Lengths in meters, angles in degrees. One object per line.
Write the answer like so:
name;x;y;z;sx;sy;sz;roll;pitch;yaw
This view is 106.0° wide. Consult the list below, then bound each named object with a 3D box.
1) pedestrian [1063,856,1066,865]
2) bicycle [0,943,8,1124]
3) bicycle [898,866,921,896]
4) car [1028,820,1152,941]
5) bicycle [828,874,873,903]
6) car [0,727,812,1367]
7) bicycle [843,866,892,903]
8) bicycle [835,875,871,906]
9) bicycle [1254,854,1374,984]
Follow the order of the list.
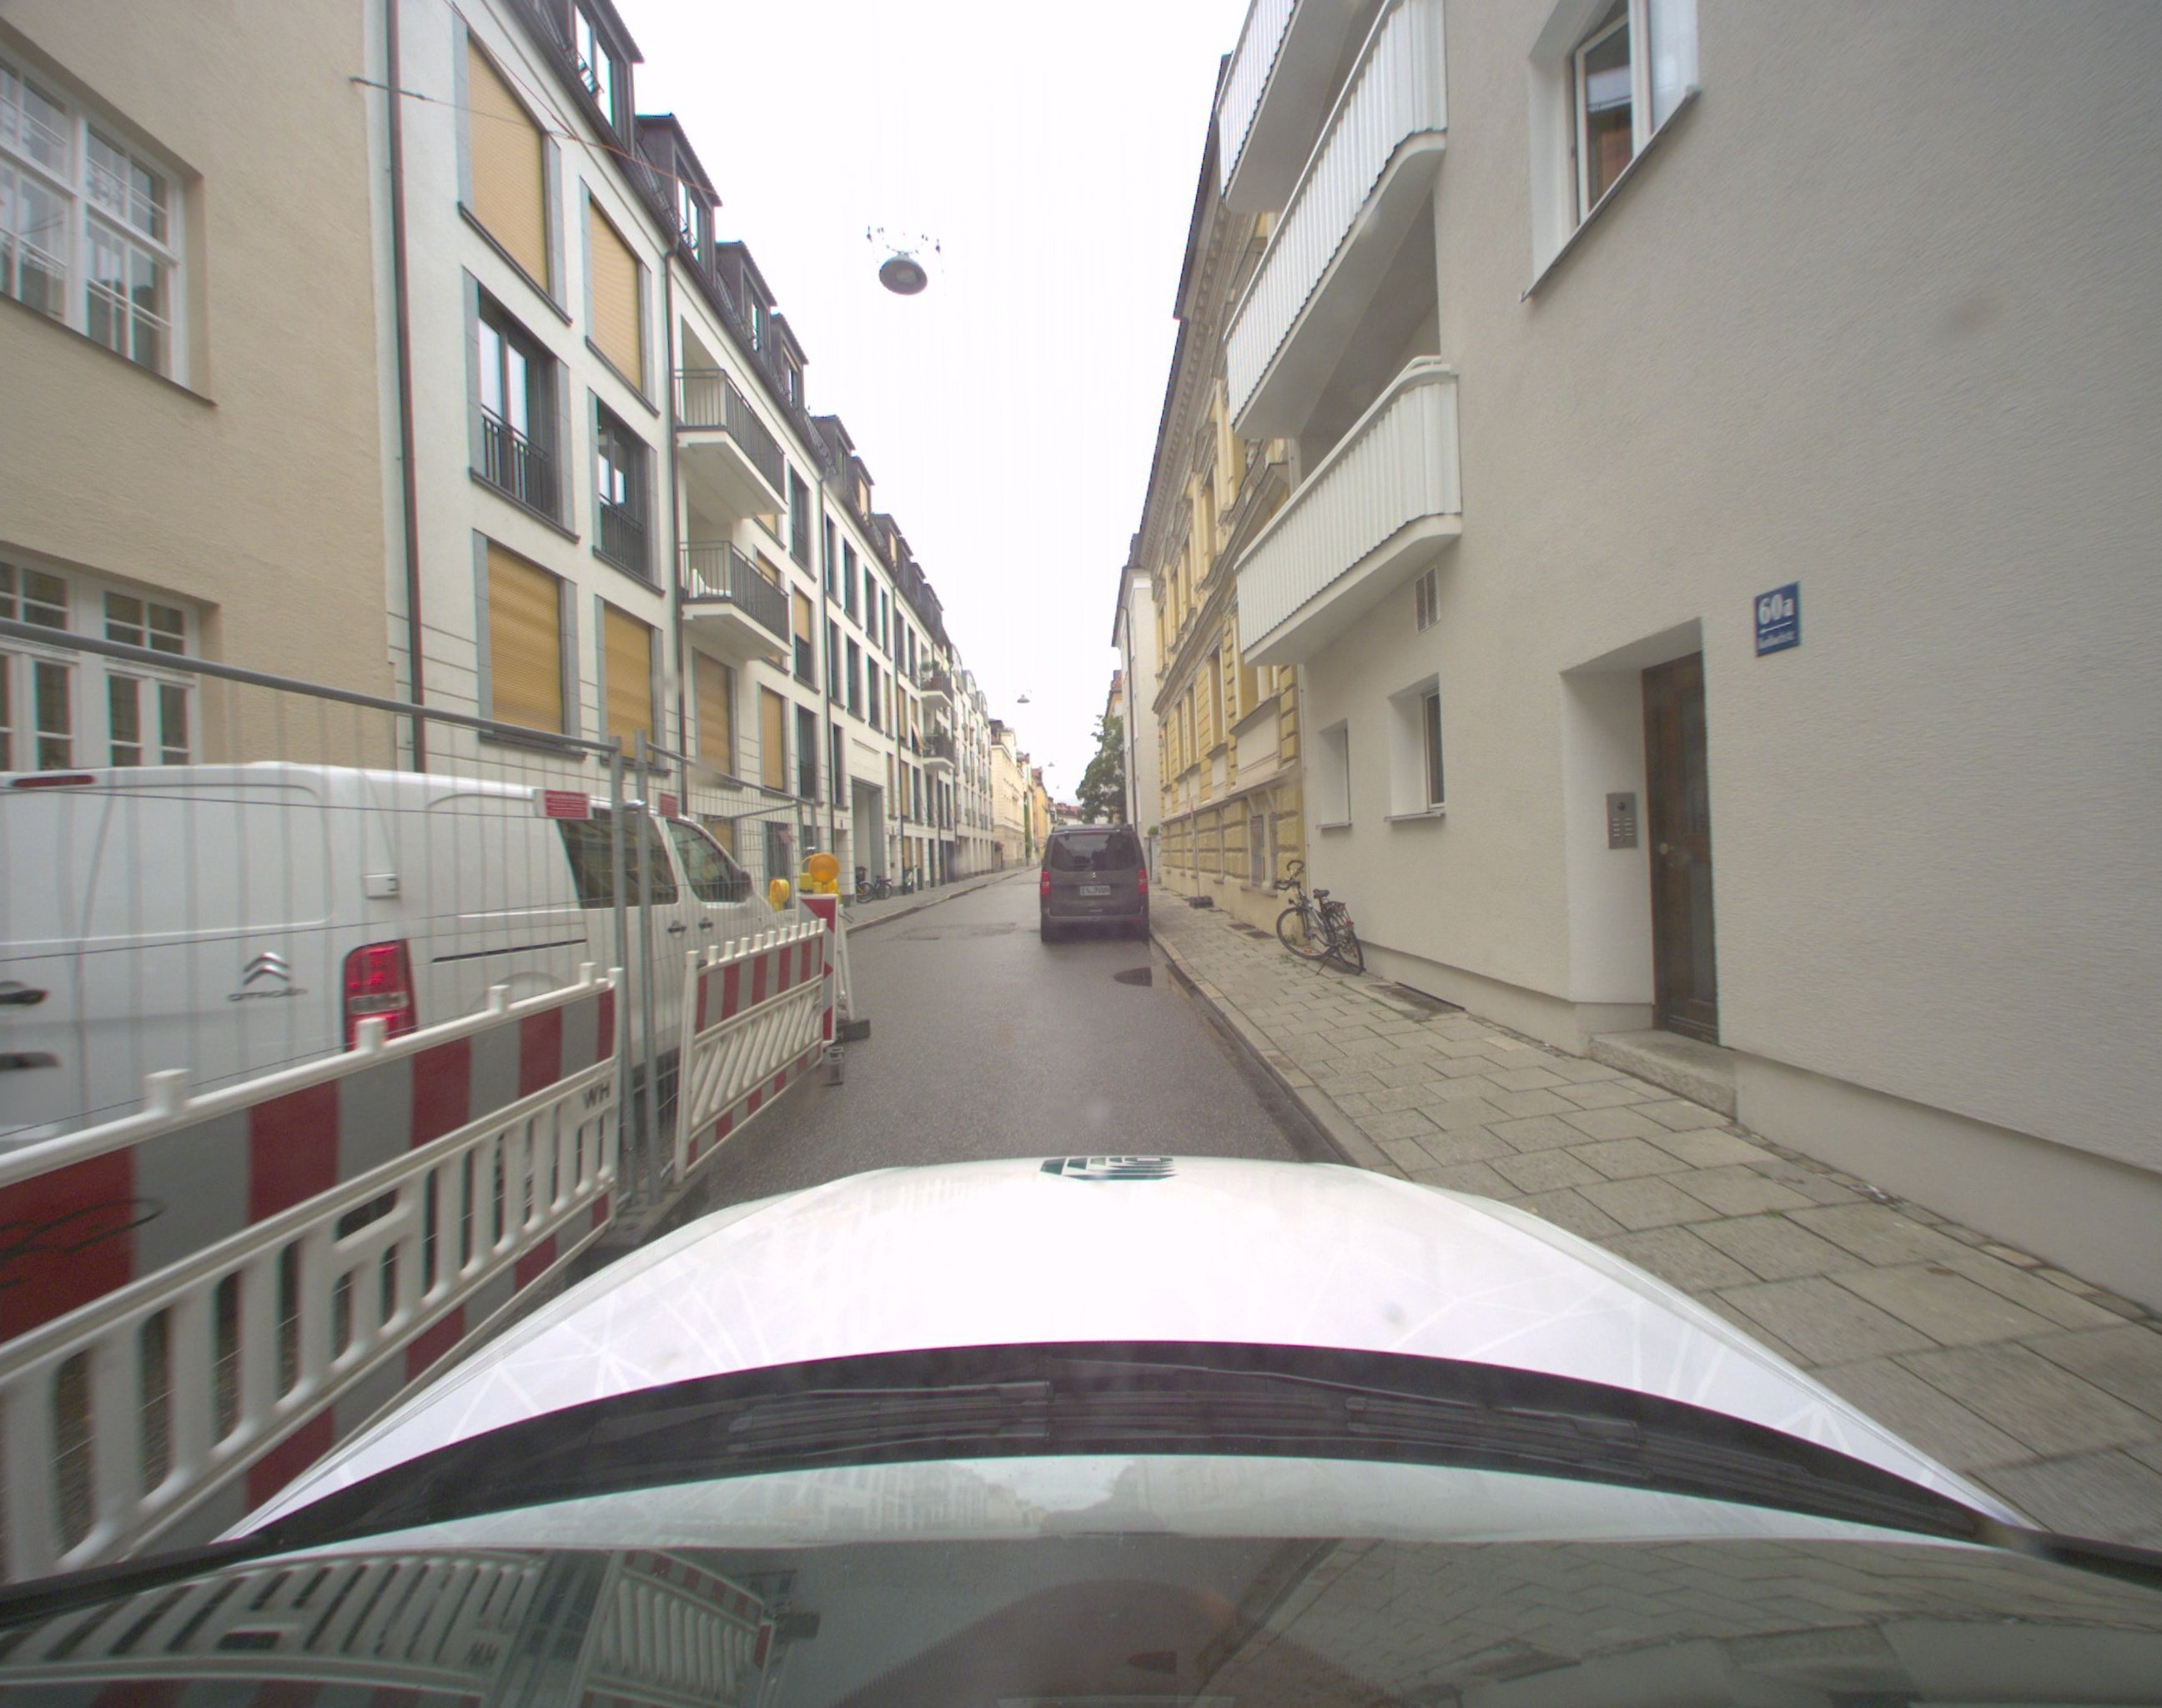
pedestrian;-3.163;1.322;159.800;0.537;1.653;0.376;-3;0;-1
bicycle;-6.422;1.046;4.069;0.303;1.051;1.390;0;0;-2
bicycle;-6.835;1.056;32.512;0.338;1.146;2.192;-3;-1;1
car;0.106;0.420;15.483;1.988;1.932;4.657;-1;0;-1
bicycle;-7.764;1.156;27.490;1.397;0.888;0.376;-2;1;-35
car;-3.333;0.604;4.995;1.901;1.897;5.082;-2;0;-4
bicycle;-7.494;1.068;28.676;0.375;1.193;1.696;0;1;43
bicycle;-7.507;1.196;26.846;1.071;0.947;0.305;-2;1;-35
bicycle;2.404;0.614;8.644;0.636;1.153;1.915;-5;1;0
